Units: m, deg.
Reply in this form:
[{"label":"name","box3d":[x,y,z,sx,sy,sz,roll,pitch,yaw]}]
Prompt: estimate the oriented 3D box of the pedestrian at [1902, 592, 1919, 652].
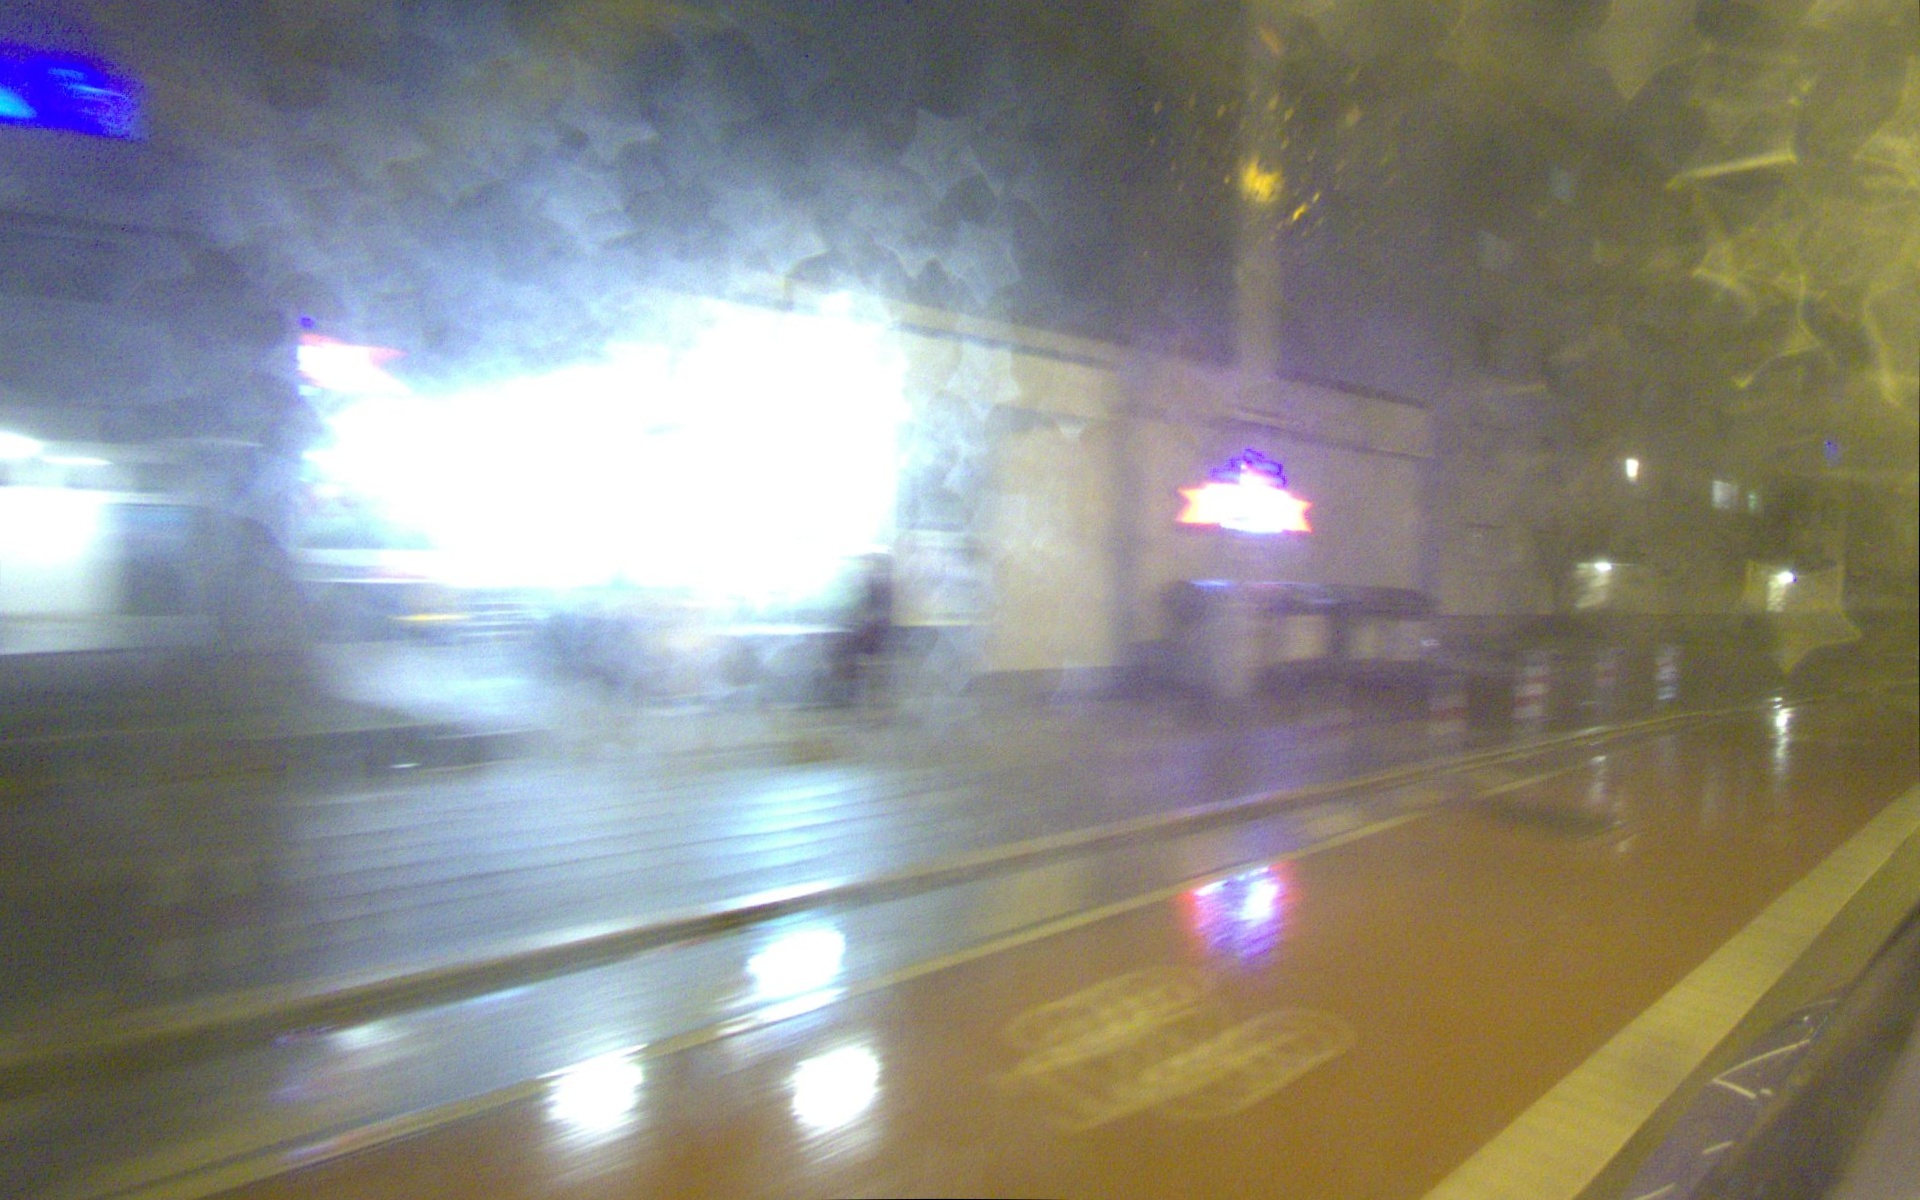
[{"label":"pedestrian","box3d":[26.401,0.601,27.439,0.999,1.595,1.053,0,1,-34]}]
